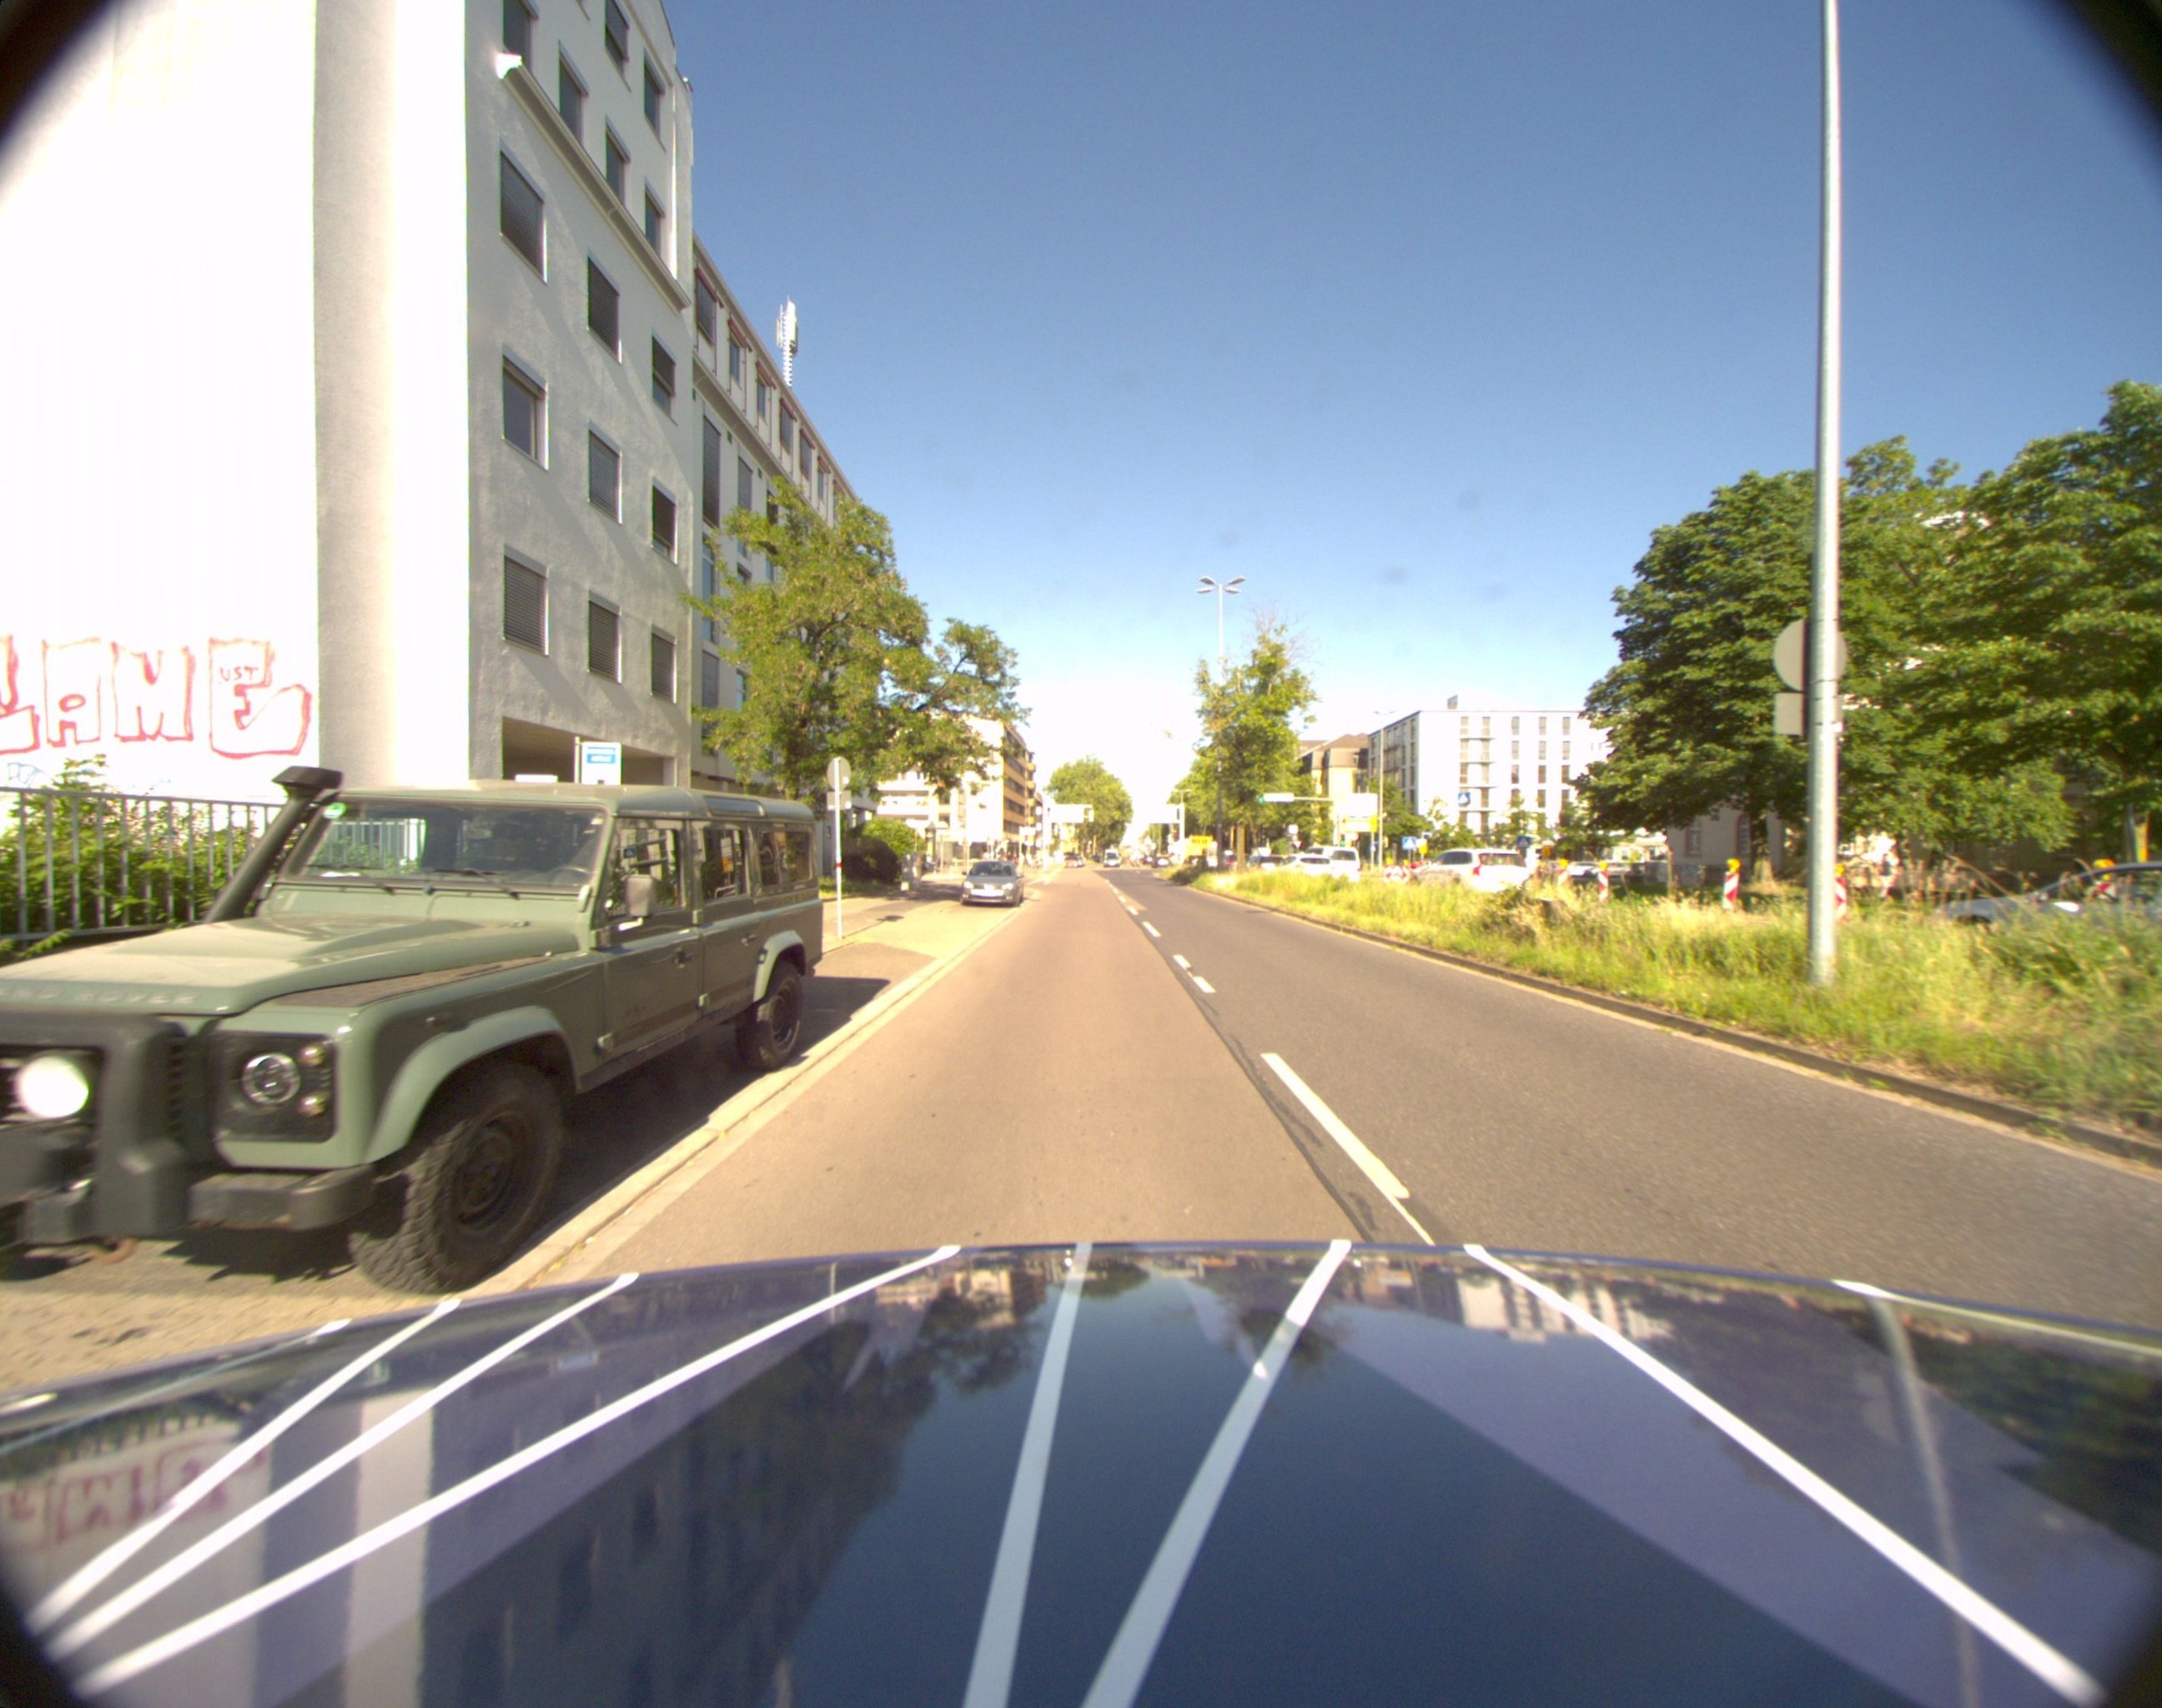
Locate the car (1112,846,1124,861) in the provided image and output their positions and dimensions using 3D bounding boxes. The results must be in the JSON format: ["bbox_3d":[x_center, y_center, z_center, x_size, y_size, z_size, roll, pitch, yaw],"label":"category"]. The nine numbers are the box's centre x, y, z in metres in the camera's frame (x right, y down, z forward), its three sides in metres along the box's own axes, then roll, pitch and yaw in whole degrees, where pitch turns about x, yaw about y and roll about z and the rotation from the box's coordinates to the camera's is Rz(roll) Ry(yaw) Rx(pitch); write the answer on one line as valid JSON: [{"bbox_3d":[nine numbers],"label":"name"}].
[{"bbox_3d":[5.960,-0.083,122.313,1.883,2.498,4.451,0,1,3],"label":"car"}]

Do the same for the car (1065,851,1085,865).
[{"bbox_3d":[-0.743,0.471,92.511,1.882,1.510,4.002,0,1,7],"label":"car"}]

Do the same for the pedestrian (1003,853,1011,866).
[{"bbox_3d":[-6.884,0.495,70.871,0.647,1.196,0.526,0,4,11],"label":"pedestrian"}]

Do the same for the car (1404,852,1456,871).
[{"bbox_3d":[32.366,0.719,70.594,3.994,1.609,1.919,0,3,9],"label":"car"}]

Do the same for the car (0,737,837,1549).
[{"bbox_3d":[-3.006,0.680,4.257,1.664,2.002,4.775,1,1,1],"label":"car"}]

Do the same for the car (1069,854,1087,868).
[{"bbox_3d":[-0.342,0.933,100.953,1.882,1.511,4.000,0,3,7],"label":"car"}]

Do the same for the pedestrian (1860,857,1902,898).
[{"bbox_3d":[30.230,0.883,28.714,0.742,1.527,0.781,0,1,-5],"label":"pedestrian"}]

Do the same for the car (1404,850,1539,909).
[{"bbox_3d":[12.512,0.740,24.777,1.800,1.733,5.031,0,0,0],"label":"car"}]

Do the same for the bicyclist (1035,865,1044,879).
[{"bbox_3d":[-4.476,1.958,82.375,0.870,1.525,0.852,-1,2,-7],"label":"bicyclist"}]

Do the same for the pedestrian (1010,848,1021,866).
[{"bbox_3d":[-6.066,0.312,70.407,0.897,1.614,0.721,0,4,11],"label":"pedestrian"}]

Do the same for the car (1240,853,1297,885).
[{"bbox_3d":[9.552,0.739,38.985,1.800,1.510,4.363,-1,0,0],"label":"car"}]

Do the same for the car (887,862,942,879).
[{"bbox_3d":[-13.948,1.373,63.671,4.052,1.400,1.885,-1,1,7],"label":"car"}]

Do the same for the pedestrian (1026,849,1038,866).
[{"bbox_3d":[-4.869,0.313,75.341,0.788,1.599,0.927,-3,4,-34],"label":"pedestrian"}]

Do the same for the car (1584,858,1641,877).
[{"bbox_3d":[48.233,1.215,68.985,3.995,1.609,1.562,-1,3,6],"label":"car"}]

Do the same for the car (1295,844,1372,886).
[{"bbox_3d":[12.672,0.507,38.481,2.239,2.016,5.016,0,1,0],"label":"car"}]

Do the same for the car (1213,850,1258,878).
[{"bbox_3d":[9.174,0.580,45.504,1.800,1.510,4.346,-1,1,0],"label":"car"}]

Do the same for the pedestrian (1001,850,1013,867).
[{"bbox_3d":[-7.369,0.462,75.553,0.799,1.635,0.982,-3,4,-34],"label":"pedestrian"}]

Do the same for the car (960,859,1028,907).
[{"bbox_3d":[-2.773,0.914,25.024,1.642,1.439,4.157,0,-1,1],"label":"car"}]

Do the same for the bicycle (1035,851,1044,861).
[{"bbox_3d":[-4.484,0.250,82.423,0.867,0.985,1.900,-1,3,-6],"label":"bicycle"}]

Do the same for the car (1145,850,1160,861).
[{"bbox_3d":[10.532,0.222,112.281,1.861,1.576,4.278,0,0,2],"label":"car"}]

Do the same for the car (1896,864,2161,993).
[{"bbox_3d":[12.550,0.824,8.722,1.800,1.344,4.258,0,0,0],"label":"car"}]

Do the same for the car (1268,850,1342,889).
[{"bbox_3d":[9.217,0.602,31.628,1.800,1.510,4.205,0,0,0],"label":"car"}]

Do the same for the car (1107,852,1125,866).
[{"bbox_3d":[4.403,0.572,94.632,1.882,1.511,4.000,0,3,7],"label":"car"}]

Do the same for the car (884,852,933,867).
[{"bbox_3d":[-17.960,0.618,79.165,4.556,1.510,1.881,0,-1,-27],"label":"car"}]
